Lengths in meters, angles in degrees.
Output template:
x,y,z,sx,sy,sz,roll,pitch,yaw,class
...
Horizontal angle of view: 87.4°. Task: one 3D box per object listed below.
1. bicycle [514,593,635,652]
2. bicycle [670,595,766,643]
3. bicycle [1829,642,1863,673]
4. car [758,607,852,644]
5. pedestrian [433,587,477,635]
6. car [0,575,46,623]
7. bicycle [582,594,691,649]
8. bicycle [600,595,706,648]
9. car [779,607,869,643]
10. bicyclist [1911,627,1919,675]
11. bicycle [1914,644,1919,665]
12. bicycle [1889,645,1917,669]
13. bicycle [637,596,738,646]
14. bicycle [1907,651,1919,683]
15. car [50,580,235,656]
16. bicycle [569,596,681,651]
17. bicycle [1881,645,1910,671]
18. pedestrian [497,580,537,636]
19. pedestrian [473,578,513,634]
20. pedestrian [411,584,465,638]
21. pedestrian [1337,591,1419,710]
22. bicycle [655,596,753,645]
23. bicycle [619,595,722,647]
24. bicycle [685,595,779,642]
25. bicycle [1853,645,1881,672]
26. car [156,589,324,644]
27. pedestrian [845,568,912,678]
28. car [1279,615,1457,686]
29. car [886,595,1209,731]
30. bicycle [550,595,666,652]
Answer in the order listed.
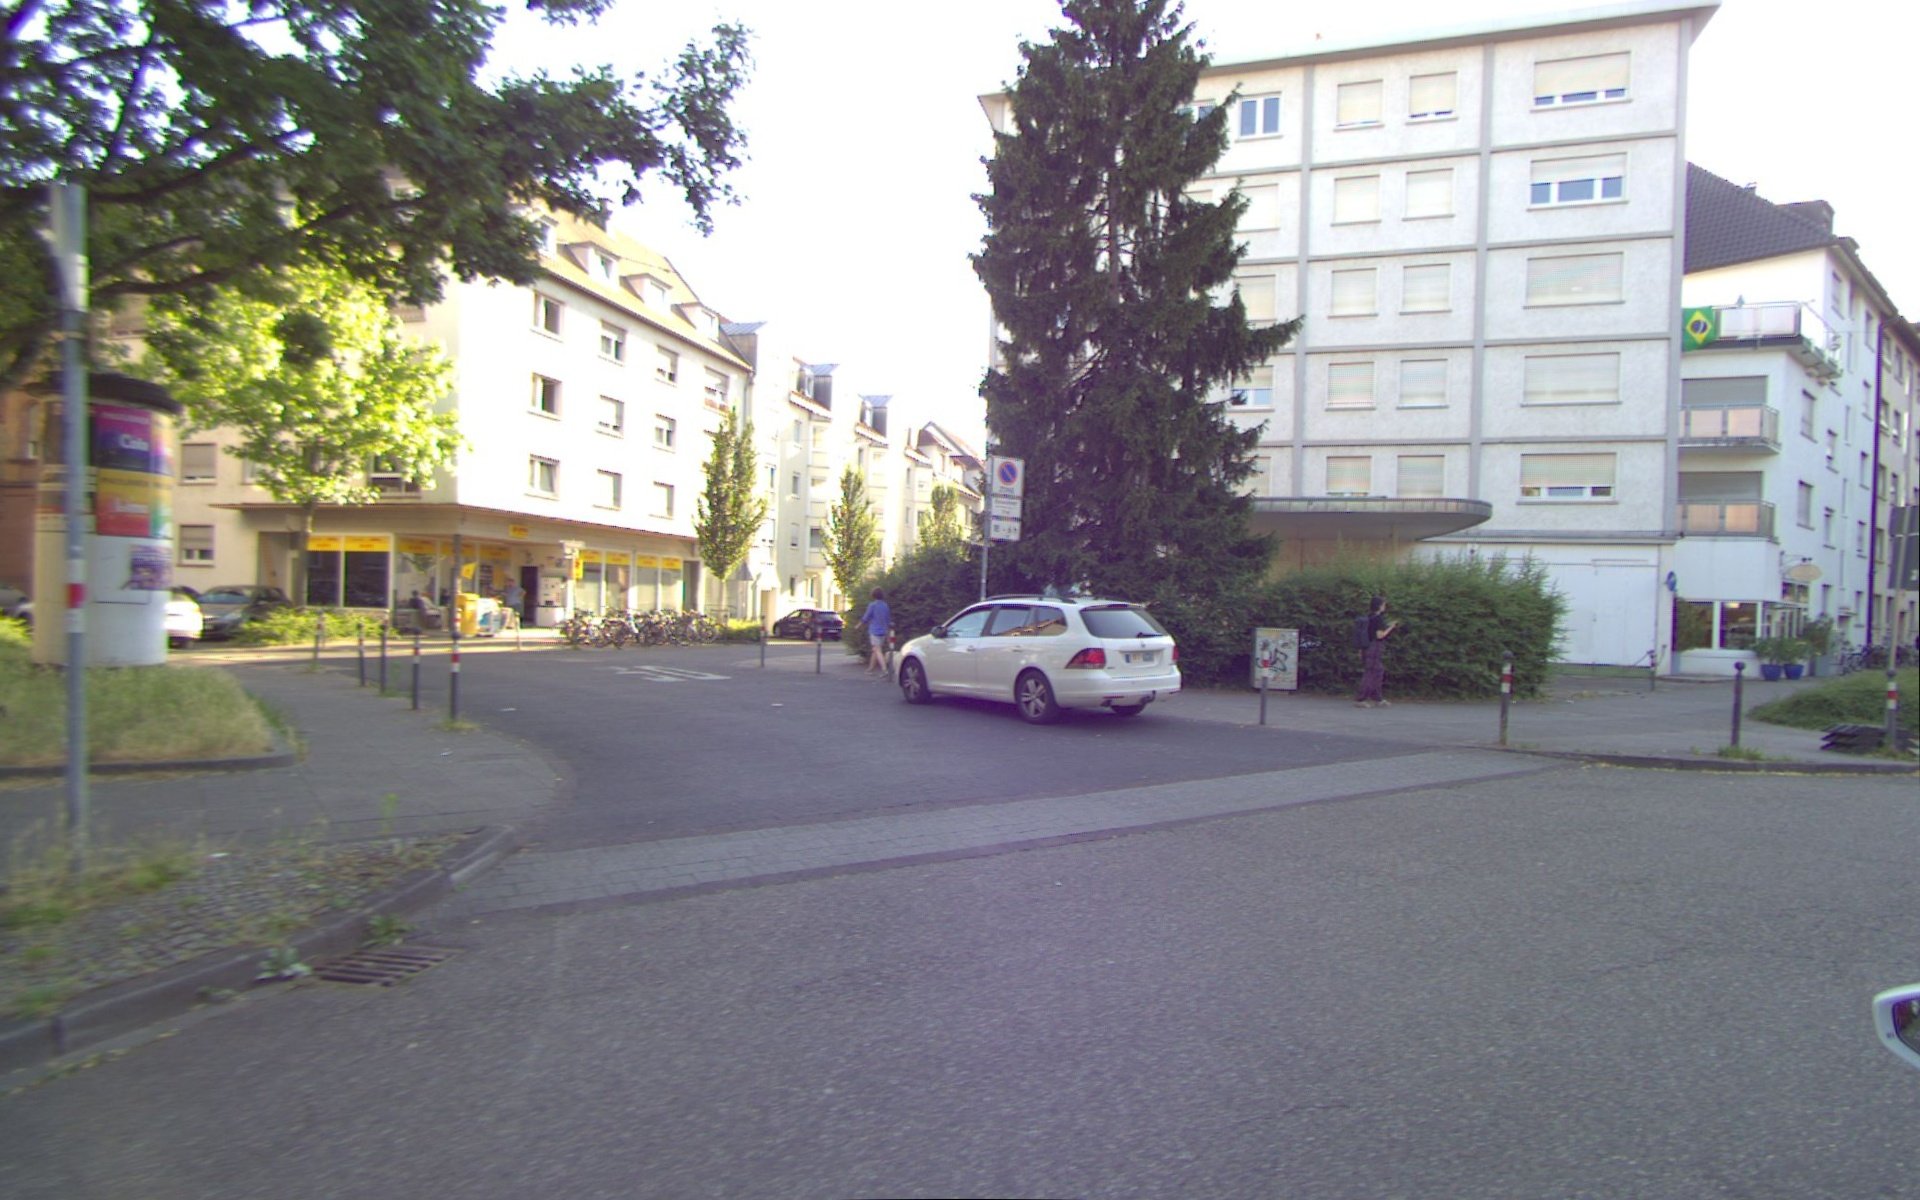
x,y,z,sx,sy,sz,roll,pitch,yaw,class
-10.676,0.616,27.774,3.313,1.464,0.881,2,0,20,bicycle
-8.600,0.657,35.670,3.313,1.464,0.881,3,0,20,bicycle
31.258,2.011,35.441,2.157,1.016,0.527,2,0,-39,bicycle
-7.122,1.151,46.167,3.921,1.579,1.745,1,0,20,car
-17.057,0.371,33.952,0.873,1.590,0.964,1,0,18,pedestrian
-31.284,-0.065,31.655,1.841,1.525,3.991,1,-1,-12,car
-10.082,0.656,31.257,3.313,1.464,0.881,3,0,20,bicycle
-9.835,0.688,32.186,3.313,1.464,0.881,3,0,20,bicycle
-6.496,1.189,48.040,3.921,1.579,1.745,1,0,20,car
33.678,1.786,34.979,0.717,1.638,0.706,2,0,-38,bicyclist
48.684,2.753,50.654,2.158,1.016,0.621,2,0,-40,bicycle
41.852,2.529,44.570,2.158,1.016,0.621,2,0,-40,bicycle
-9.183,0.685,33.854,3.313,1.464,0.881,3,0,20,bicycle
33.666,2.336,34.971,2.327,1.065,0.706,2,-1,-39,bicycle
-19.979,0.402,24.519,4.451,1.669,1.940,1,-1,29,car
-10.052,0.682,30.129,3.313,1.464,0.881,2,0,20,bicycle
39.285,2.437,42.163,2.158,1.016,0.621,2,0,-40,bicycle
-15.334,0.270,34.801,0.835,1.900,0.891,1,0,17,pedestrian
-16.263,0.219,34.967,0.835,1.900,0.891,1,0,17,pedestrian
-16.940,0.348,32.607,0.944,1.688,1.215,1,0,18,pedestrian
6.482,0.757,15.578,0.863,1.759,0.821,2,1,-40,pedestrian
-8.859,0.684,34.751,3.313,1.464,0.881,3,0,20,bicycle
-9.513,0.683,32.991,3.313,1.464,0.881,3,0,20,bicycle
-8.321,0.664,36.599,3.313,1.464,0.881,3,0,20,bicycle
36.041,2.315,39.922,2.158,1.016,0.527,2,0,-40,bicycle
-20.304,0.455,28.557,1.836,1.418,4.000,1,-1,0,car
-1.564,0.427,19.274,0.856,2.040,0.974,2,0,-39,pedestrian
10.046,1.209,24.993,3.921,1.553,2.000,1,-1,21,car
0.957,0.678,13.124,1.905,1.470,4.252,1,0,-36,car
-10.188,0.669,29.026,3.313,1.464,0.881,2,0,20,bicycle
